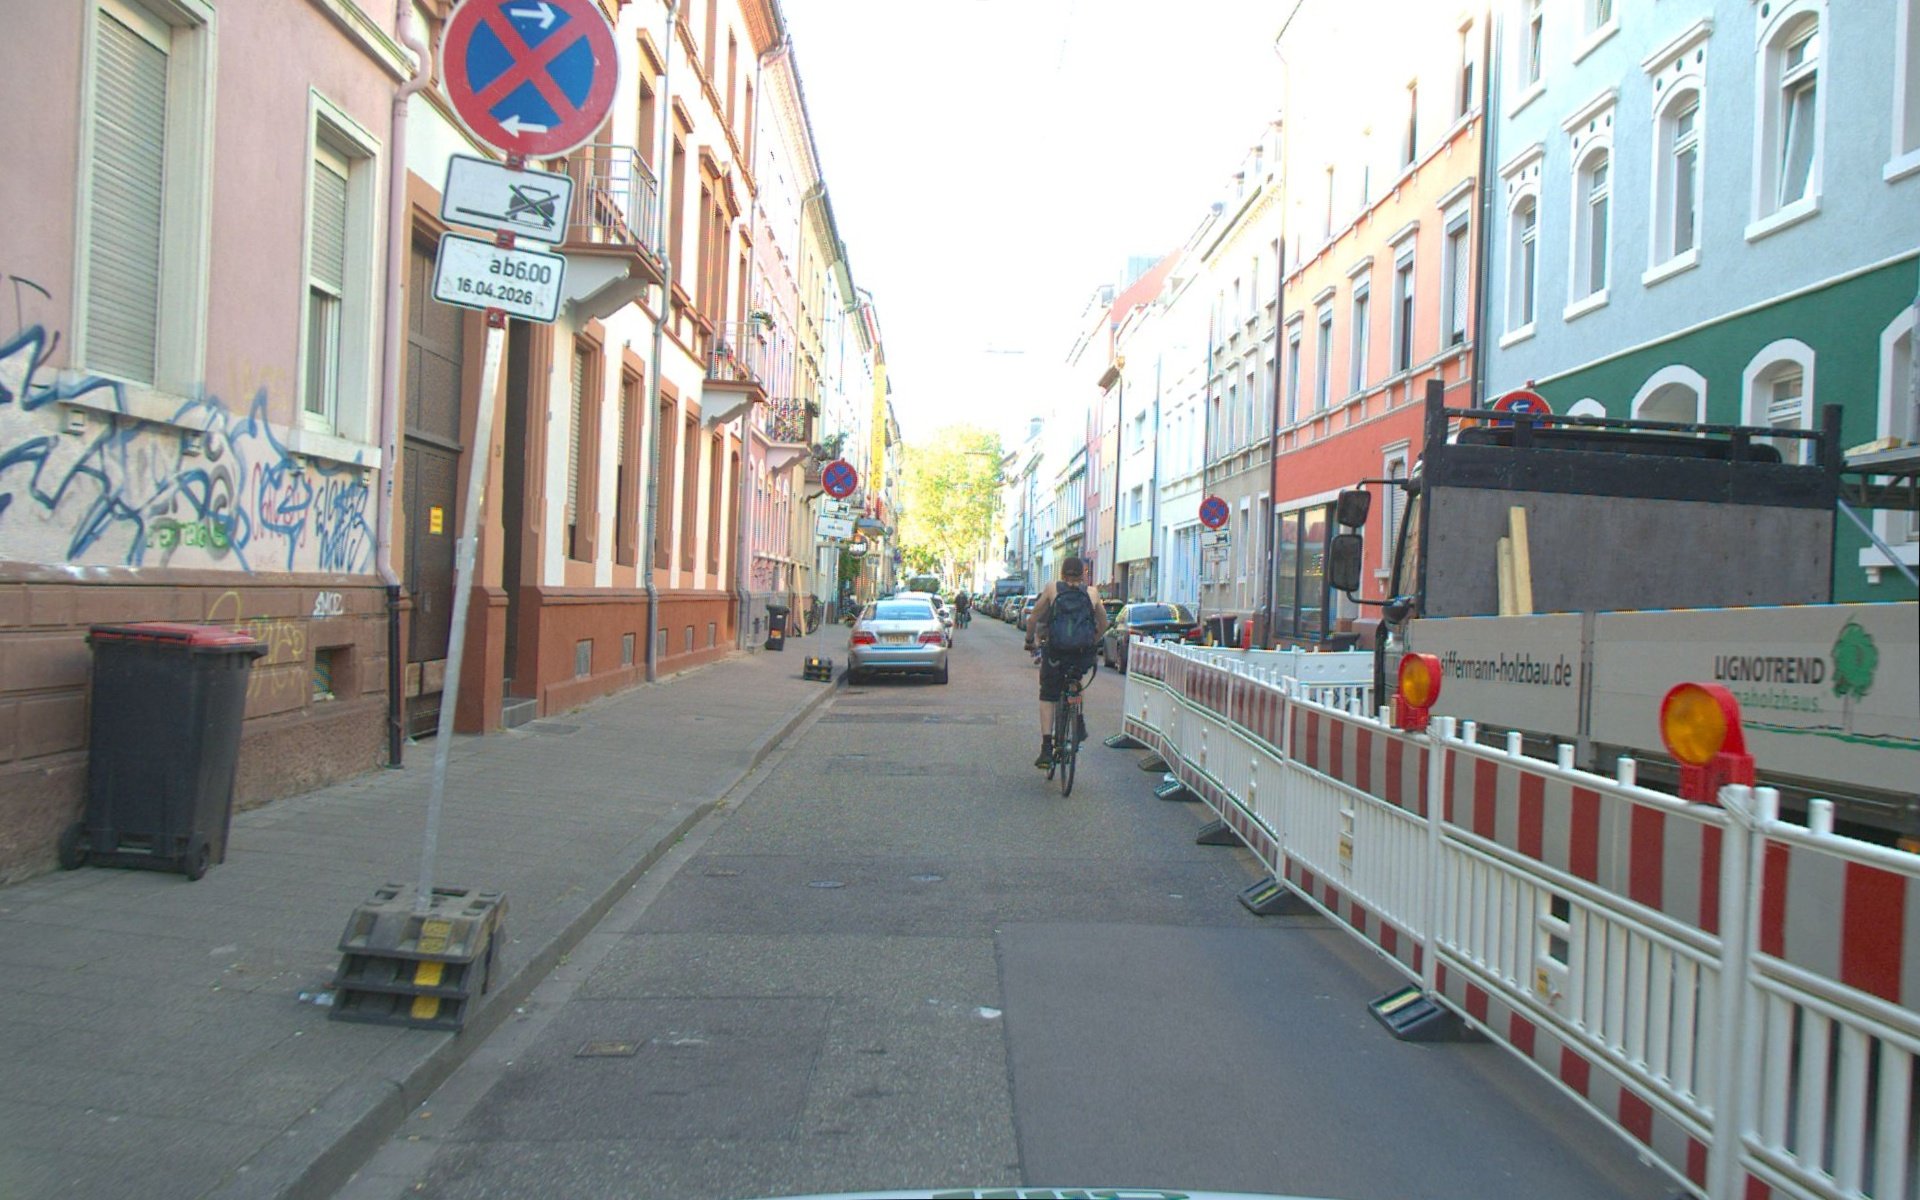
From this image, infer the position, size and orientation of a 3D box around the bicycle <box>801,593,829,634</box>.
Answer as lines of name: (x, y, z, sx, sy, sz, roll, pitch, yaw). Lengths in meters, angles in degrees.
bicycle: (-4.178, 0.381, 47.813, 0.580, 1.107, 2.078, 3, 0, -1)

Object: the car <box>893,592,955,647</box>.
car: (-1.002, 0.522, 46.342, 1.638, 1.467, 4.164, 0, 0, -1)

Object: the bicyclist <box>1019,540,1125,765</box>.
bicyclist: (0.857, 0.395, 12.910, 0.688, 1.662, 1.090, 2, 0, -1)

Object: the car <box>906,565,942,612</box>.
car: (-2.056, -0.661, 93.664, 1.871, 2.540, 4.163, 1, 0, -3)

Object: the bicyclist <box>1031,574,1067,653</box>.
bicyclist: (1.879, 0.268, 34.991, 0.688, 1.633, 0.812, 1, 1, -2)

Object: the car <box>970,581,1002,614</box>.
car: (2.036, -0.182, 130.581, 2.261, 2.582, 6.768, 0, 0, -1)

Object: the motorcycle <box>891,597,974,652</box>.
motorcycle: (-0.721, 0.640, 43.405, 2.114, 1.383, 0.537, -1, 1, -19)

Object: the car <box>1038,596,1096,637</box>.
car: (3.715, 0.563, 57.847, 1.676, 1.407, 3.999, 0, 0, -1)

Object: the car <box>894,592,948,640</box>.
car: (-1.225, 0.481, 52.120, 1.638, 1.467, 3.767, 0, 0, -1)

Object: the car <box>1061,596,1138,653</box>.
car: (3.910, 0.678, 46.905, 1.780, 1.548, 3.999, 0, 0, -1)

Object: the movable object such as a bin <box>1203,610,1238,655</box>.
movable object such as a bin: (6.484, 0.796, 41.127, 0.790, 1.094, 0.678, -1, 0, 4)

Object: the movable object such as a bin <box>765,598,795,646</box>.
movable object such as a bin: (-3.772, 0.459, 34.637, 0.532, 0.961, 0.487, 3, 0, 0)

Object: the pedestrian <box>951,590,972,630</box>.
pedestrian: (0.074, 0.420, 70.083, 0.755, 1.606, 0.900, 3, 0, -3)

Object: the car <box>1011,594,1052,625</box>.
car: (3.364, 0.439, 78.011, 1.676, 1.418, 3.999, 0, 0, -1)

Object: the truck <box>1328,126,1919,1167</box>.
truck: (3.911, 0.172, 7.526, 2.607, 2.863, 7.392, 3, 0, -1)

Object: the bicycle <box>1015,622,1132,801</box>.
bicycle: (0.849, 0.811, 12.974, 0.688, 1.229, 2.341, 2, 0, -1)

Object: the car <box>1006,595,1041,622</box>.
car: (3.401, 0.454, 89.666, 1.676, 1.473, 3.999, 0, 0, -1)

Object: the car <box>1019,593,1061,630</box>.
car: (3.482, 0.511, 72.680, 1.588, 1.577, 3.999, 0, 0, -1)

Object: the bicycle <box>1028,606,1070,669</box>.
bicycle: (1.862, 0.769, 35.040, 0.688, 1.229, 2.342, 1, 1, -1)

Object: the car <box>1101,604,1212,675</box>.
car: (4.237, 0.811, 36.263, 1.780, 1.463, 4.789, 0, 0, -1)

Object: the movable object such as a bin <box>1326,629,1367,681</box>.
movable object such as a bin: (6.990, 0.989, 29.934, 0.585, 0.922, 0.579, -1, -1, -3)

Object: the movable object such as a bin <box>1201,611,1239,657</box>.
movable object such as a bin: (6.296, 0.818, 40.082, 0.722, 1.094, 0.676, -1, 0, -8)

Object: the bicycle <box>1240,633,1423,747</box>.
bicycle: (4.085, 0.983, 18.241, 1.815, 1.129, 0.642, 3, 0, -8)

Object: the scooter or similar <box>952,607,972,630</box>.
scooter or similar: (0.075, 0.771, 69.654, 0.755, 0.888, 0.770, 3, 0, -3)

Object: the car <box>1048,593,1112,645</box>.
car: (3.803, 0.596, 52.789, 1.676, 1.583, 3.999, 0, 0, -1)

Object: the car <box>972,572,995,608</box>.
car: (2.482, -1.036, 177.979, 2.261, 3.834, 6.768, 0, 0, -1)

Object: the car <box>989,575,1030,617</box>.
car: (3.114, -0.222, 105.172, 2.261, 2.582, 6.768, 0, 0, -1)

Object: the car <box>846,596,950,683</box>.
car: (-1.039, 0.648, 28.986, 1.676, 1.407, 4.504, 0, 0, -1)

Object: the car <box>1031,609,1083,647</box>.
car: (3.671, 1.051, 63.232, 1.676, 1.407, 3.999, 0, 0, -1)

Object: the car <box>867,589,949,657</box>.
car: (-1.183, 0.503, 39.413, 1.675, 1.407, 4.357, 2, 1, 1)

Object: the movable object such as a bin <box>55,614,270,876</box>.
movable object such as a bin: (-3.439, 0.605, 7.175, 0.593, 1.053, 0.596, 3, 0, -3)
